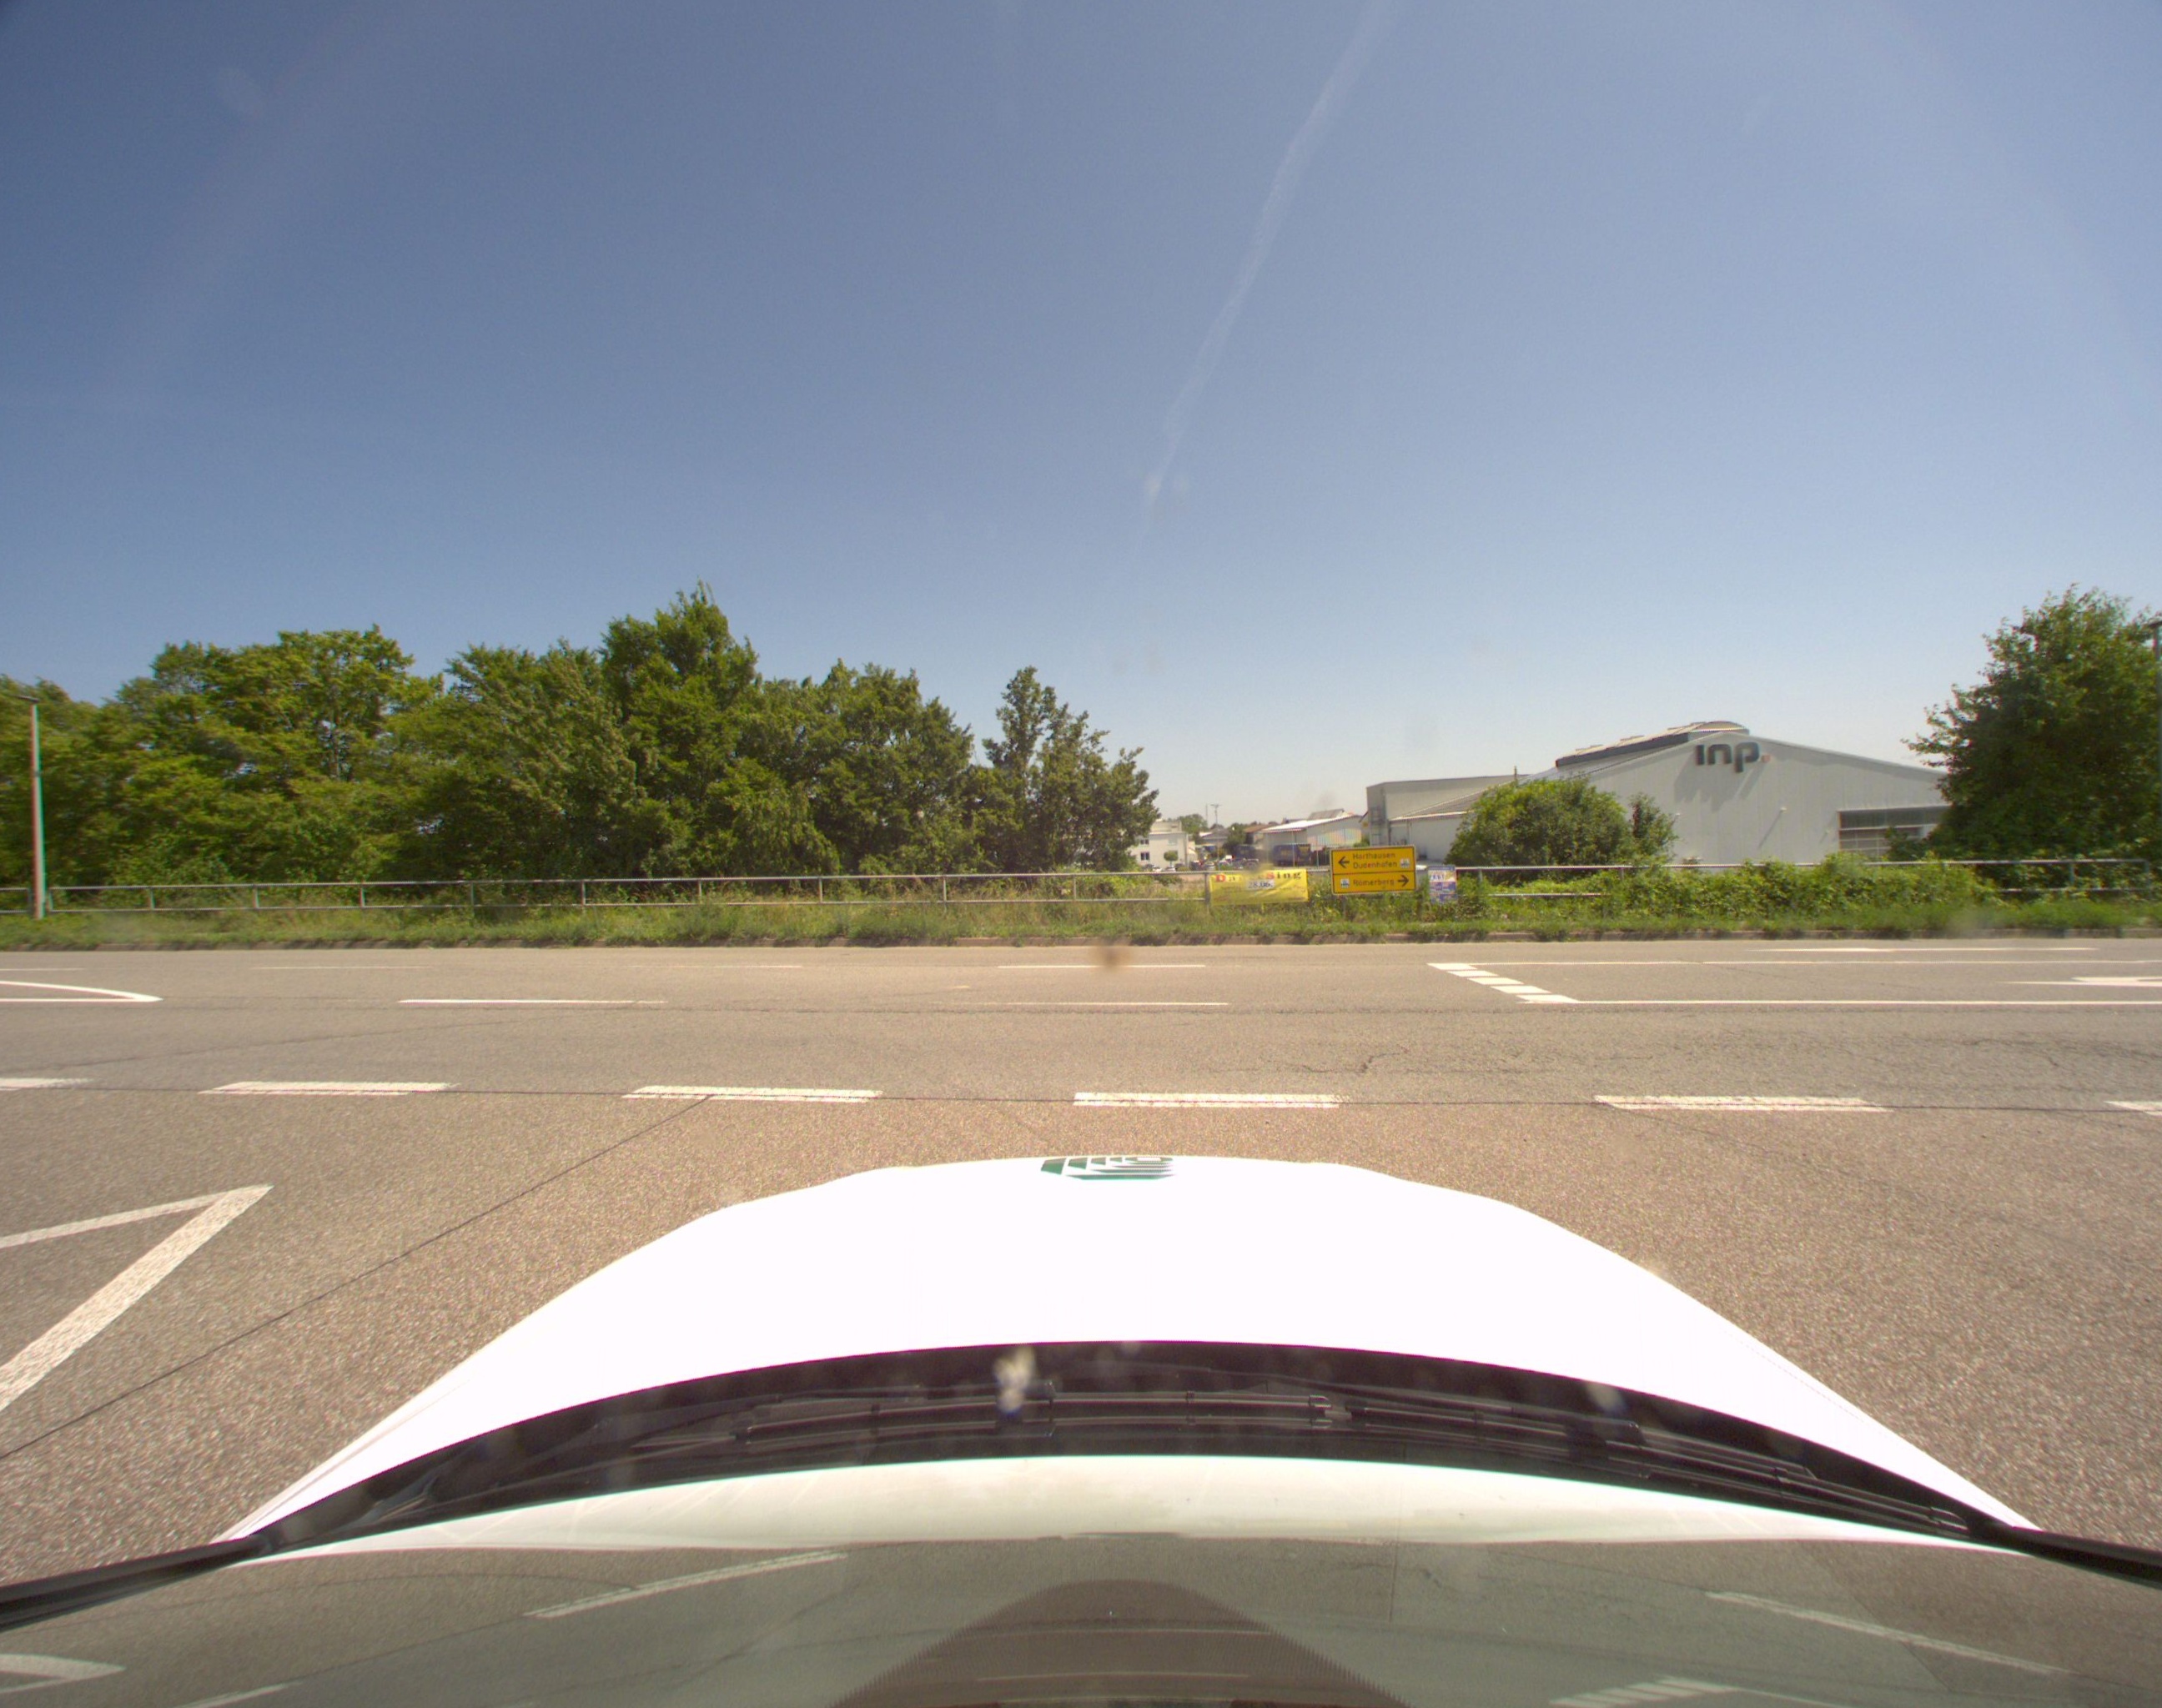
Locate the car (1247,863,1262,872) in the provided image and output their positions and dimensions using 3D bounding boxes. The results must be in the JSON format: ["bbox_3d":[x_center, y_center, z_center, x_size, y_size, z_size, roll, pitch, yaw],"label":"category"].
[{"bbox_3d":[28.844,2.265,135.604,1.678,1.363,3.835,-4,0,0],"label":"car"}]

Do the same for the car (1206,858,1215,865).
[{"bbox_3d":[28.441,1.596,178.721,1.446,1.350,3.314,-1,0,-1],"label":"car"}]

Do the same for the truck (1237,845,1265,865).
[{"bbox_3d":[38.680,0.120,185.926,3.400,4.311,14.593,-1,0,0],"label":"truck"}]

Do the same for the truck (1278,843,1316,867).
[{"bbox_3d":[39.998,0.166,151.308,3.694,4.311,13.346,-1,0,1],"label":"truck"}]

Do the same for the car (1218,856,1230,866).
[{"bbox_3d":[30.827,1.464,175.807,1.711,2.013,3.999,-2,0,0],"label":"car"}]

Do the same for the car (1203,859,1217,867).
[{"bbox_3d":[26.874,1.848,169.969,1.988,1.731,4.861,-1,0,-1],"label":"car"}]
